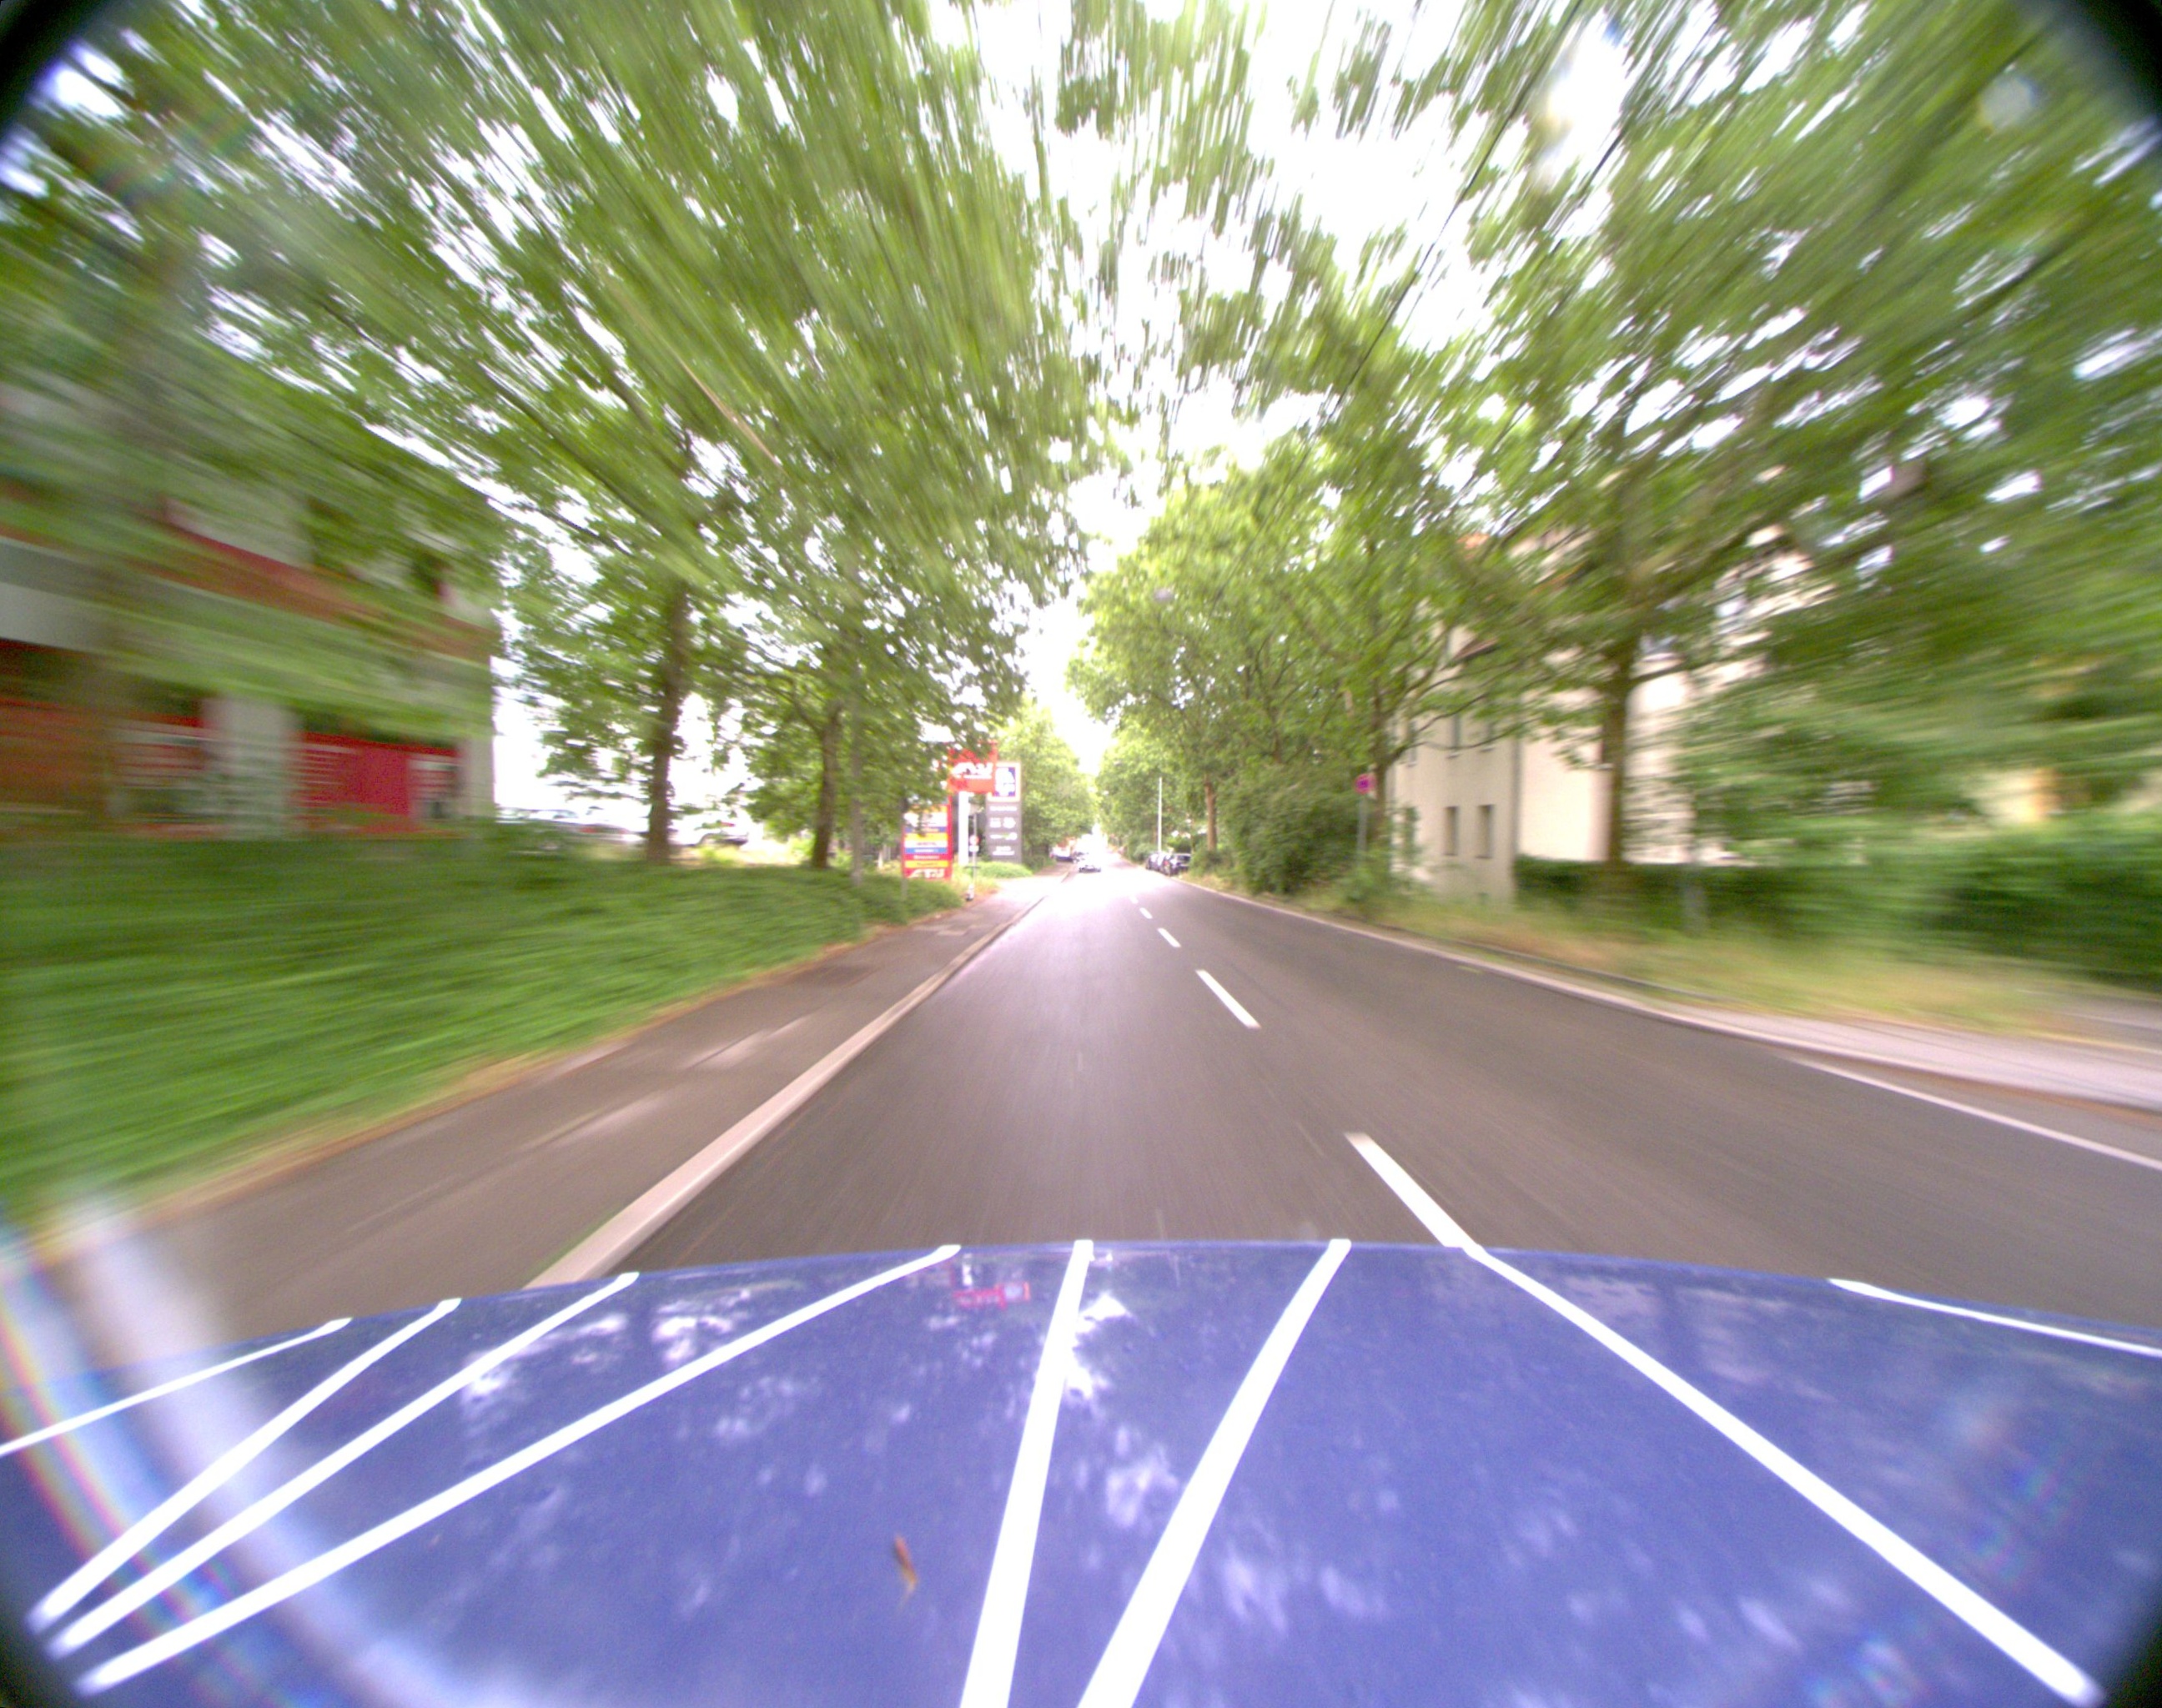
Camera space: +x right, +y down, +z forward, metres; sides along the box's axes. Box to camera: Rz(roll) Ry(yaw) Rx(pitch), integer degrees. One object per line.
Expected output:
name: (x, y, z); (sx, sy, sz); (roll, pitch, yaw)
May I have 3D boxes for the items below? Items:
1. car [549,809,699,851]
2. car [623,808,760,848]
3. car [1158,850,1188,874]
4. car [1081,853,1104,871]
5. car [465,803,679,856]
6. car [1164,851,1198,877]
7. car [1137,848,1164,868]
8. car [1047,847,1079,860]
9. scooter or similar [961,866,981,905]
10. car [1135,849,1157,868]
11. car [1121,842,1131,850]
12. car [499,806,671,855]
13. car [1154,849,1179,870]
car: (-15.460, -0.802, 25.857); (3.928, 1.286, 1.832); (-1, 1, 1)
car: (-14.585, -0.959, 28.629); (4.111, 1.368, 1.902); (-1, 1, 0)
car: (6.599, 0.553, 54.943); (1.676, 1.499, 3.873); (3, 1, 1)
car: (0.911, 0.624, 62.194); (1.692, 1.334, 3.998); (0, 2, -1)
car: (-13.773, -0.656, 20.756); (4.621, 1.326, 1.801); (-1, 1, 1)
car: (6.540, 0.640, 49.950); (1.652, 1.529, 4.017); (3, 1, 0)
car: (5.970, 0.343, 65.443); (1.869, 1.582, 4.238); (2, 1, -1)
car: (-2.244, -0.048, 95.325); (3.860, 1.538, 2.025); (1, 1, -5)
scooter or similar: (-3.637, 1.034, 25.202); (0.426, 1.135, 1.528); (-2, 3, -1)
car: (6.110, 0.422, 71.503); (1.738, 1.648, 4.564); (3, 0, 2)
car: (8.994, -1.555, 152.810); (1.721, 1.501, 4.802); (-1, 2, -1)
car: (-15.270, -0.715, 23.561); (4.110, 1.458, 1.884); (0, 1, 2)
car: (6.835, 0.397, 60.854); (1.676, 1.499, 4.123); (-2, 1, 2)
